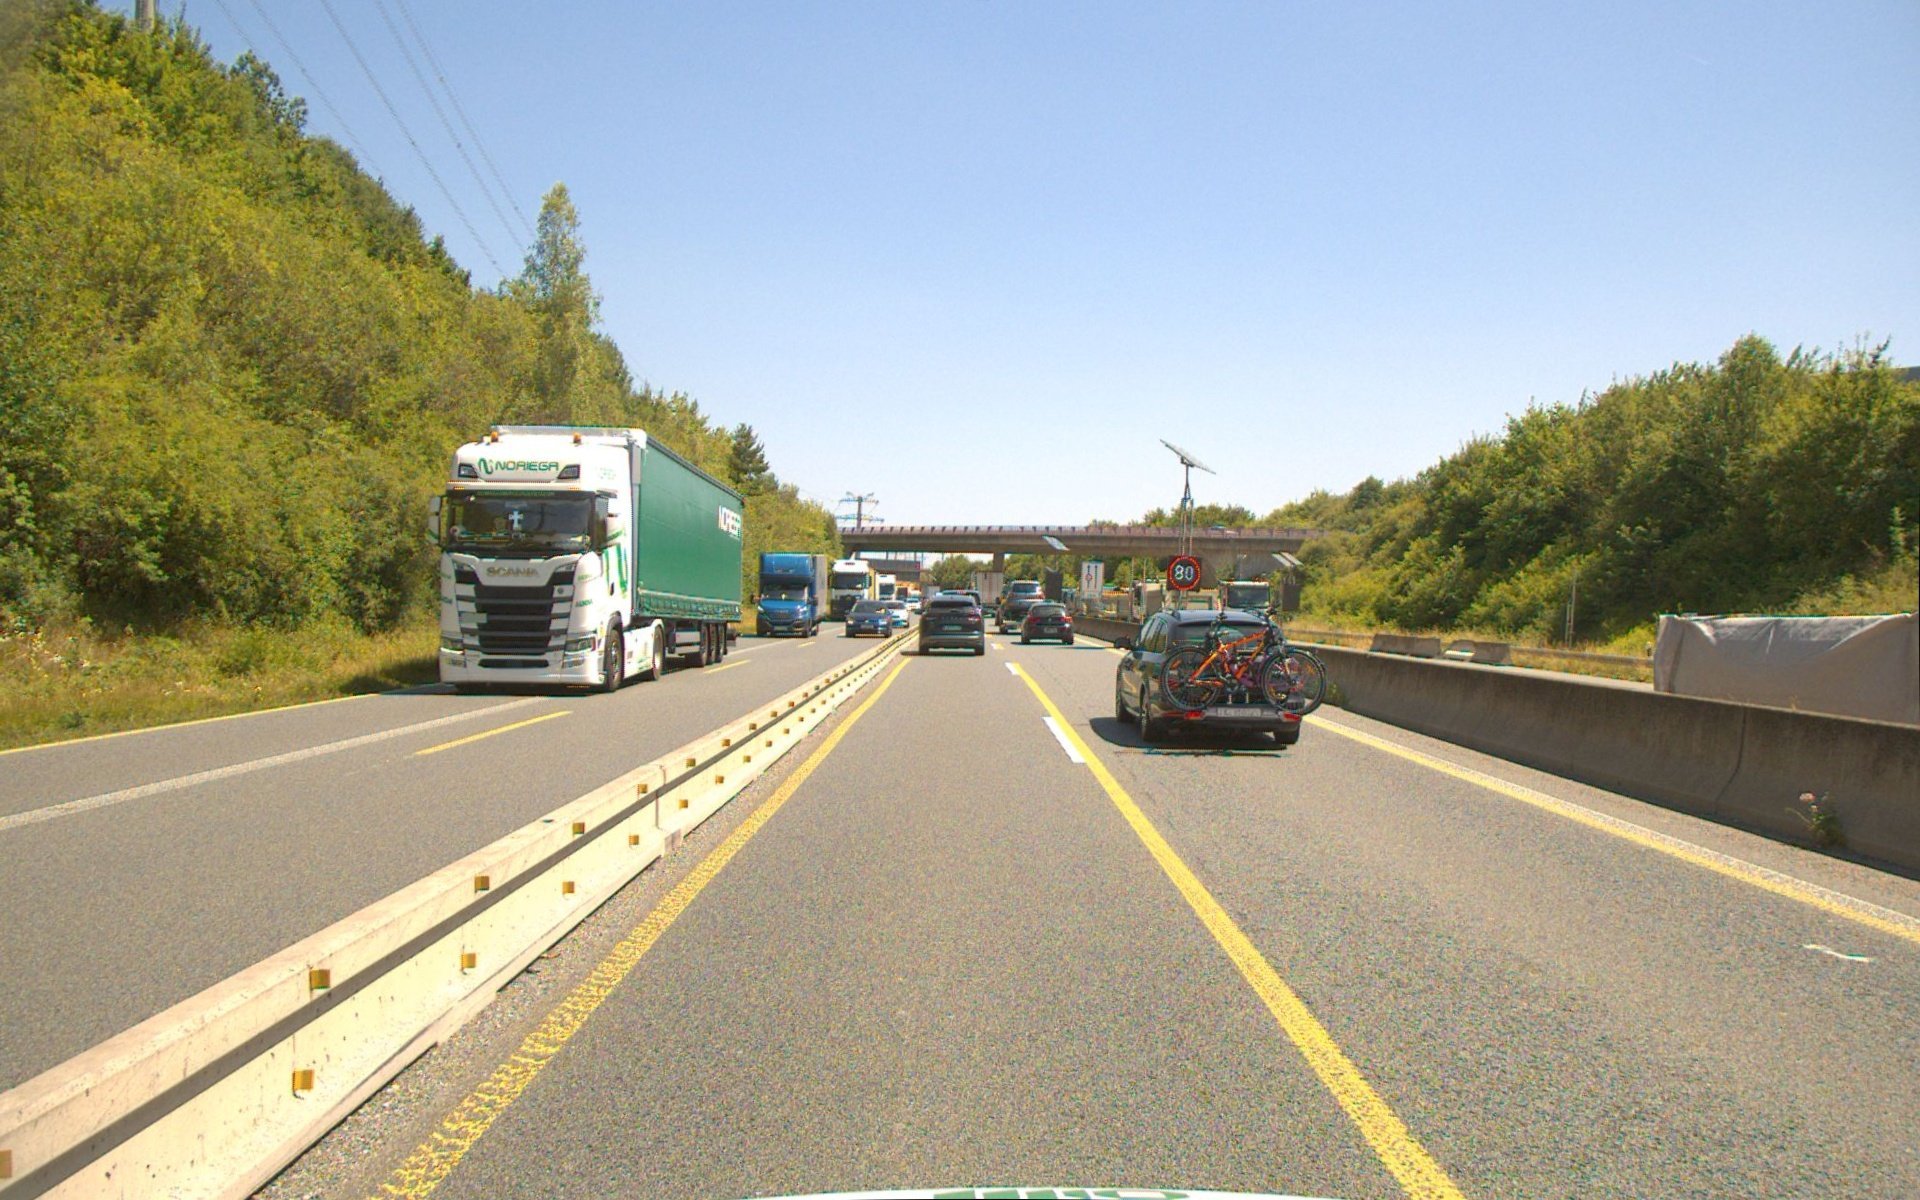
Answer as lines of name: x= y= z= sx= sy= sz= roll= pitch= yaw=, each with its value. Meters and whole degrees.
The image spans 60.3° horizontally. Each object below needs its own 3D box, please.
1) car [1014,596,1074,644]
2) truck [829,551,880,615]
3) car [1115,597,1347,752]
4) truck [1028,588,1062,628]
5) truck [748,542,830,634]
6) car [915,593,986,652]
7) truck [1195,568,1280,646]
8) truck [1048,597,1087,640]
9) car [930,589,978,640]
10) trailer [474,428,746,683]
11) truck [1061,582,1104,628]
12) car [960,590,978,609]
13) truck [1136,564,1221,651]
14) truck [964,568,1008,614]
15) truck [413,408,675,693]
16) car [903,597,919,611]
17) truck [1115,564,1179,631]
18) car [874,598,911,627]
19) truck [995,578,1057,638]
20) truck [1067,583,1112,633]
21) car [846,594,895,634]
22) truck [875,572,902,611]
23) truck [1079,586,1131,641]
car: x=2.942 y=0.691 z=58.633 sx=1.860 sy=1.613 sz=4.276 roll=1 pitch=0 yaw=0
truck: x=-7.053 y=-1.111 z=111.846 sx=2.595 sy=4.061 sz=9.650 roll=2 pitch=0 yaw=0
car: x=2.934 y=0.763 z=18.952 sx=1.860 sy=1.516 sz=4.947 roll=1 pitch=0 yaw=0
truck: x=8.458 y=0.800 z=165.521 sx=2.633 sy=3.826 sz=9.323 roll=1 pitch=0 yaw=-1
truck: x=-6.669 y=-0.475 z=65.558 sx=2.356 sy=3.388 sz=7.500 roll=1 pitch=0 yaw=0
car: x=-0.240 y=0.607 z=45.816 sx=1.860 sy=1.531 sz=4.276 roll=1 pitch=0 yaw=0
truck: x=13.532 y=0.328 z=81.296 sx=2.632 sy=3.572 sz=8.379 roll=1 pitch=0 yaw=-1
truck: x=9.531 y=1.579 z=147.394 sx=2.633 sy=3.619 sz=9.322 roll=1 pitch=0 yaw=-1
car: x=-0.222 y=0.579 z=67.222 sx=1.860 sy=2.003 sz=4.276 roll=1 pitch=0 yaw=0
trailer: x=-6.699 y=-0.746 z=34.256 sx=2.832 sy=4.197 sz=13.242 roll=1 pitch=0 yaw=0
truck: x=10.150 y=0.399 z=138.121 sx=2.633 sy=3.619 sz=9.322 roll=1 pitch=0 yaw=-1
car: x=0.974 y=-0.049 z=180.760 sx=1.860 sy=2.003 sz=4.276 roll=1 pitch=0 yaw=0
truck: x=9.613 y=0.309 z=73.644 sx=2.481 sy=3.572 sz=9.095 roll=1 pitch=0 yaw=-1
truck: x=2.208 y=-0.781 z=146.223 sx=3.226 sy=3.912 sz=10.104 roll=1 pitch=0 yaw=-3
truck: x=-6.640 y=-0.724 z=27.384 sx=2.835 sy=4.190 sz=6.019 roll=0 pitch=0 yaw=0
car: x=-5.769 y=0.508 z=194.473 sx=1.787 sy=1.659 sz=4.150 roll=1 pitch=0 yaw=-1
truck: x=10.795 y=-0.138 z=96.179 sx=2.487 sy=3.619 sz=9.601 roll=1 pitch=0 yaw=-1
car: x=-3.630 y=0.682 z=89.490 sx=1.804 sy=1.516 sz=4.510 roll=0 pitch=0 yaw=-1
truck: x=3.001 y=0.329 z=77.001 sx=2.357 sy=2.603 sz=7.498 roll=1 pitch=0 yaw=-2
truck: x=9.752 y=0.567 z=125.705 sx=2.632 sy=3.619 sz=9.405 roll=1 pitch=0 yaw=0
car: x=-3.542 y=0.565 z=66.064 sx=1.725 sy=1.516 sz=4.401 roll=1 pitch=0 yaw=0
truck: x=-7.723 y=-0.866 z=178.890 sx=2.360 sy=4.062 sz=10.351 roll=2 pitch=0 yaw=0
truck: x=9.988 y=0.873 z=114.485 sx=2.632 sy=3.619 sz=9.601 roll=1 pitch=0 yaw=0
